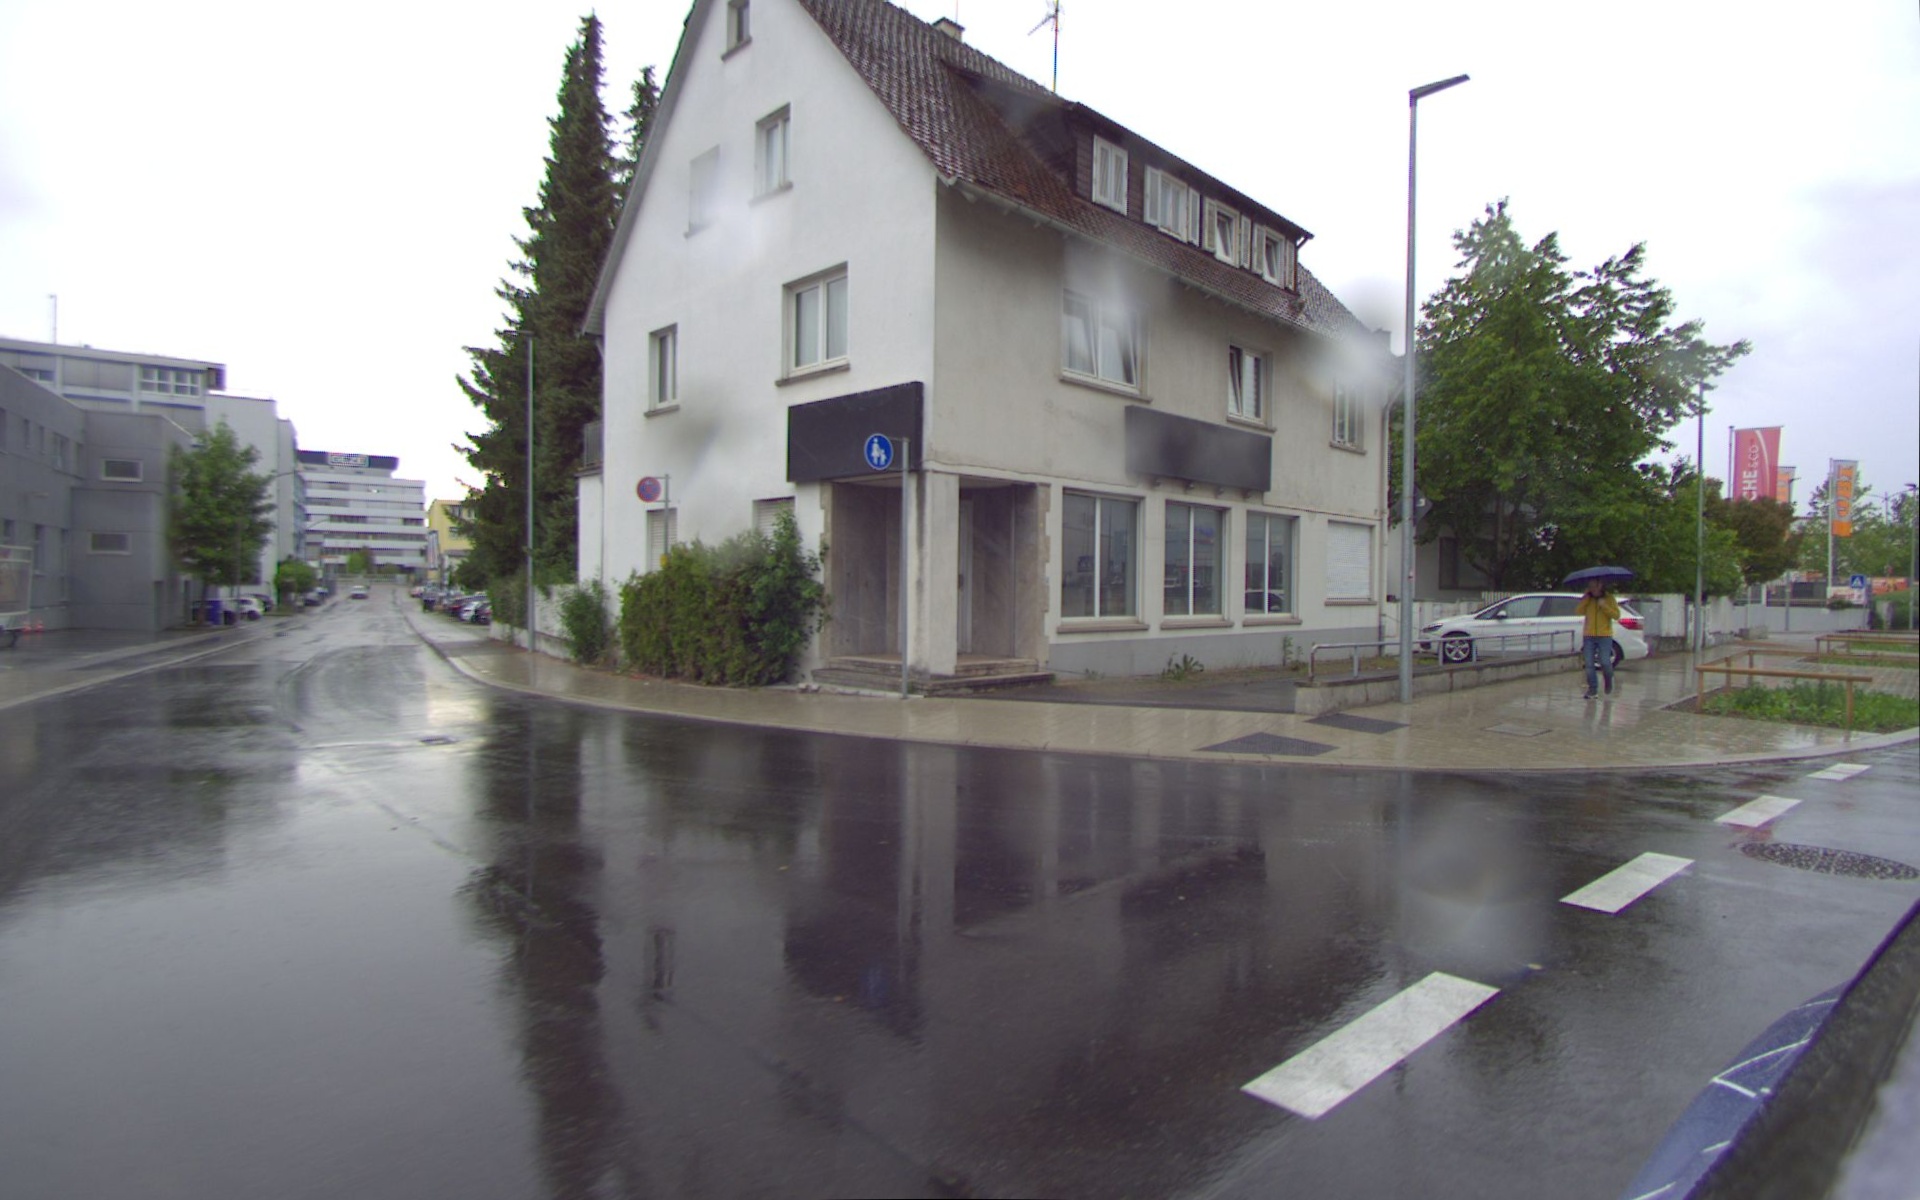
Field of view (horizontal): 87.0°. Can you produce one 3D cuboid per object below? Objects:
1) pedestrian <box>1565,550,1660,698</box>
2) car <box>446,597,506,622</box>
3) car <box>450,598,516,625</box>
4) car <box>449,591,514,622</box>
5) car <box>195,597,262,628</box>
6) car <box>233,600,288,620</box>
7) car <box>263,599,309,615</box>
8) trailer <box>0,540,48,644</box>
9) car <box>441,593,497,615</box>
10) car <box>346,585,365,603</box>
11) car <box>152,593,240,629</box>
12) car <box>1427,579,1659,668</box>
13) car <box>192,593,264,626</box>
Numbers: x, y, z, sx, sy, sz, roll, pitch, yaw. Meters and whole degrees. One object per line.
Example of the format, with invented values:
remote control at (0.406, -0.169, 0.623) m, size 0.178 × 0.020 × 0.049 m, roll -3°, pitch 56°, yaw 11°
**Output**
pedestrian at (9.472, 0.317, 14.677) m, size 0.859 × 2.038 × 1.176 m, roll 3°, pitch 2°, yaw 44°
car at (-33.705, 0.653, 70.488) m, size 3.690 × 1.466 × 1.613 m, roll -3°, pitch -2°, yaw -29°
car at (-30.278, 0.740, 64.272) m, size 3.690 × 1.466 × 1.613 m, roll -3°, pitch -2°, yaw -29°
car at (-31.404, 0.422, 66.409) m, size 3.690 × 1.775 × 1.613 m, roll -2°, pitch -2°, yaw -29°
car at (-53.680, 0.937, 74.333) m, size 3.926 × 2.039 × 1.998 m, roll -2°, pitch -2°, yaw -36°
car at (-61.766, 0.907, 89.444) m, size 3.926 × 1.505 × 1.999 m, roll -2°, pitch -2°, yaw -36°
car at (-69.953, 0.718, 105.091) m, size 3.926 × 1.505 × 1.999 m, roll -2°, pitch -2°, yaw -36°
trailer at (-27.757, -0.186, 27.506) m, size 2.876 × 2.770 × 5.895 m, roll -2°, pitch -2°, yaw -27°
car at (-37.143, 0.273, 76.540) m, size 3.690 × 1.466 × 1.613 m, roll -3°, pitch -2°, yaw -29°
car at (-79.370, -0.800, 132.923) m, size 1.960 × 2.039 × 4.002 m, roll -2°, pitch -2°, yaw -30°
car at (-43.260, 0.630, 57.410) m, size 3.926 × 1.814 × 1.998 m, roll -2°, pitch -2°, yaw -36°
car at (12.408, 0.439, 21.696) m, size 4.113 × 1.600 × 1.977 m, roll 3°, pitch 1°, yaw 33°
car at (-49.969, 0.618, 69.141) m, size 3.926 × 2.039 × 1.998 m, roll -2°, pitch -2°, yaw -36°
